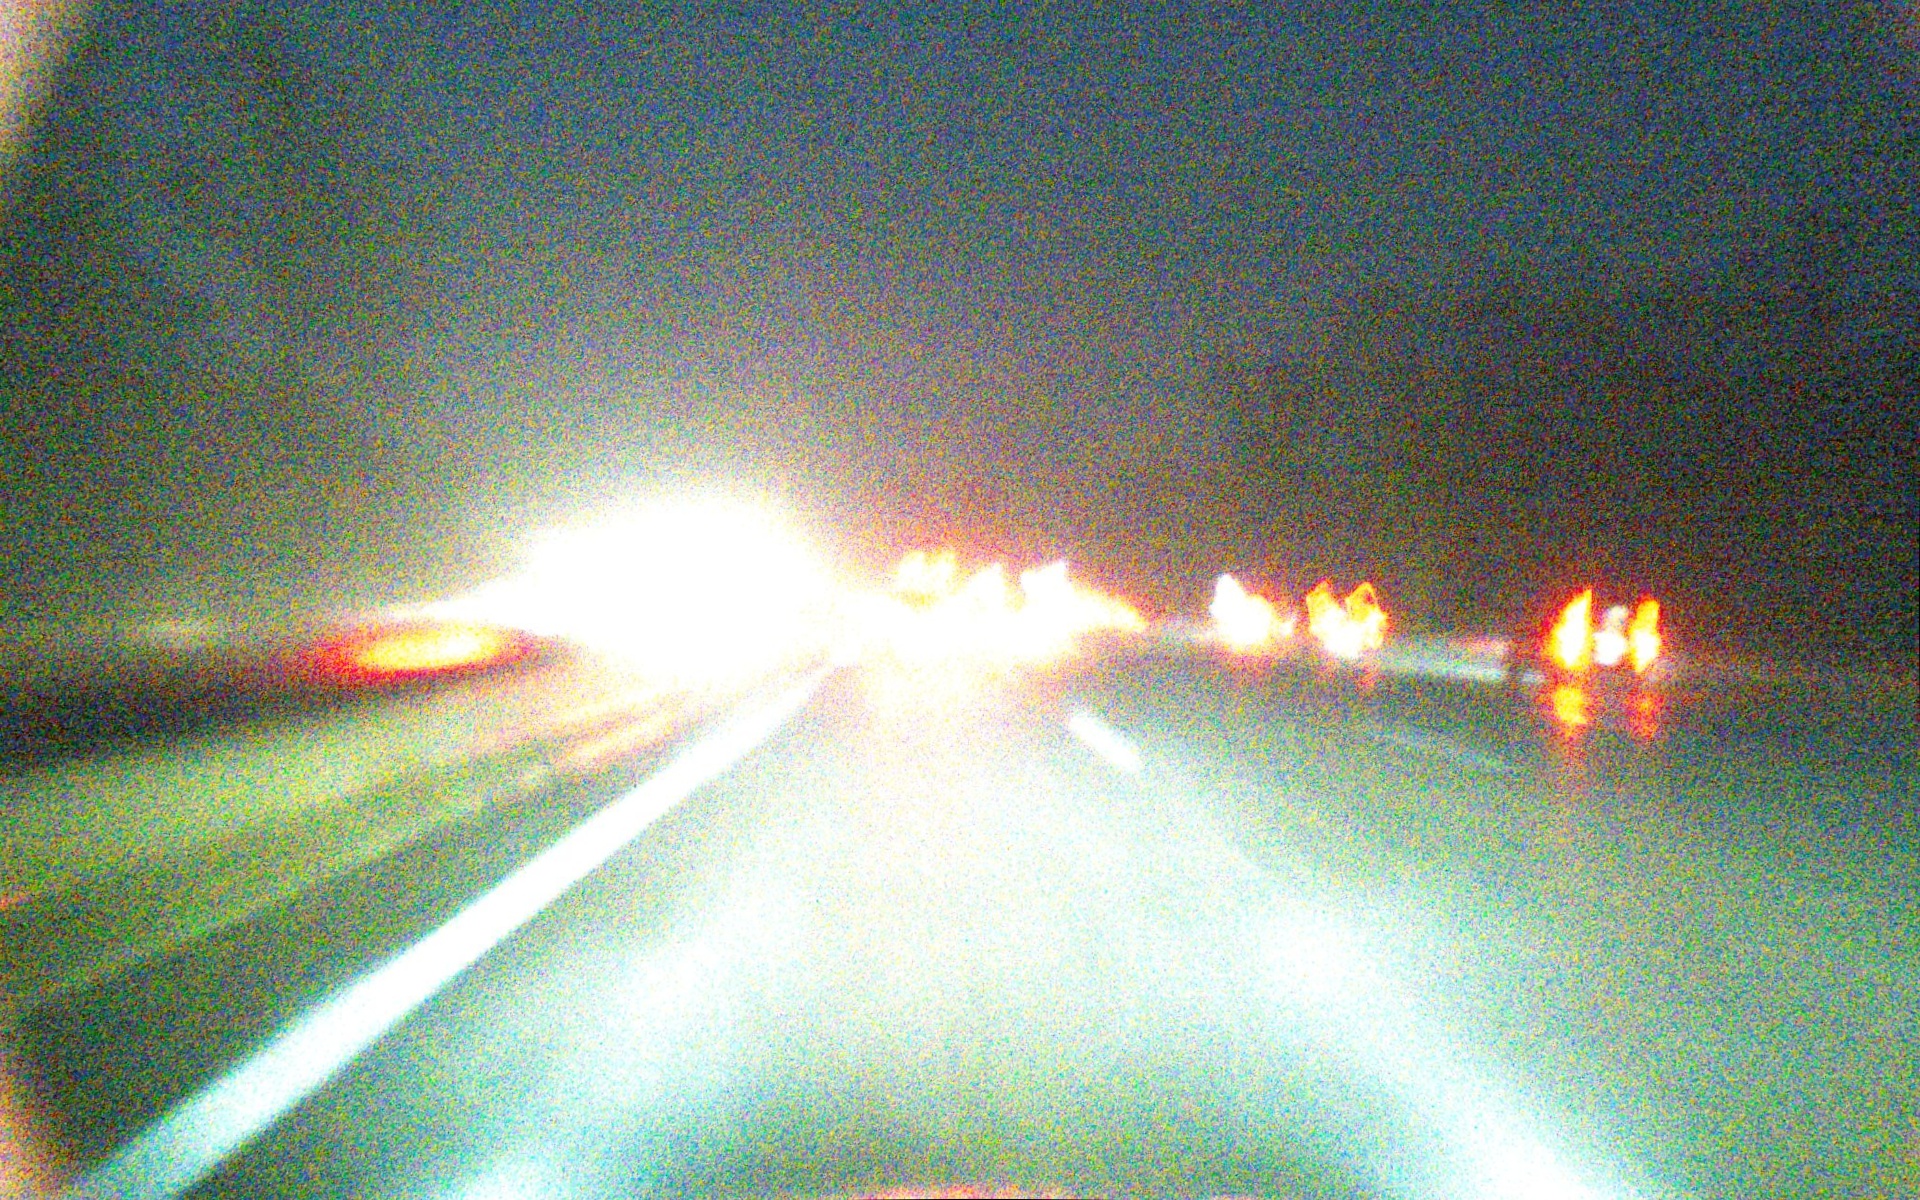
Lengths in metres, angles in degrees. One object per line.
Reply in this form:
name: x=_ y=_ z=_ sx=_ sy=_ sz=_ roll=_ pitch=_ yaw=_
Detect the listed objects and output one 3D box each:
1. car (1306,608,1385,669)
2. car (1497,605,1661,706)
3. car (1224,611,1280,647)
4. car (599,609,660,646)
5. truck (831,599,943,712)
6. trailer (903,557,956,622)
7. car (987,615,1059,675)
car: x=14.216 y=1.377 z=61.207 sx=2.186 sy=2.048 sz=4.002 roll=2 pitch=0 yaw=4
car: x=14.272 y=1.215 z=38.513 sx=2.019 sy=2.048 sz=5.451 roll=2 pitch=0 yaw=4
car: x=14.719 y=1.459 z=83.590 sx=1.954 sy=1.628 sz=3.998 roll=4 pitch=0 yaw=-2
car: x=-14.233 y=1.160 z=71.379 sx=1.768 sy=1.431 sz=4.287 roll=4 pitch=0 yaw=-1
truck: x=-1.489 y=1.106 z=36.253 sx=2.102 sy=2.113 sz=6.602 roll=4 pitch=0 yaw=-1
trailer: x=-2.431 y=-0.928 z=126.452 sx=2.686 sy=4.320 sz=13.358 roll=3 pitch=2 yaw=-6
car: x=1.803 y=1.273 z=48.496 sx=1.764 sy=1.646 sz=4.255 roll=0 pitch=0 yaw=-2
